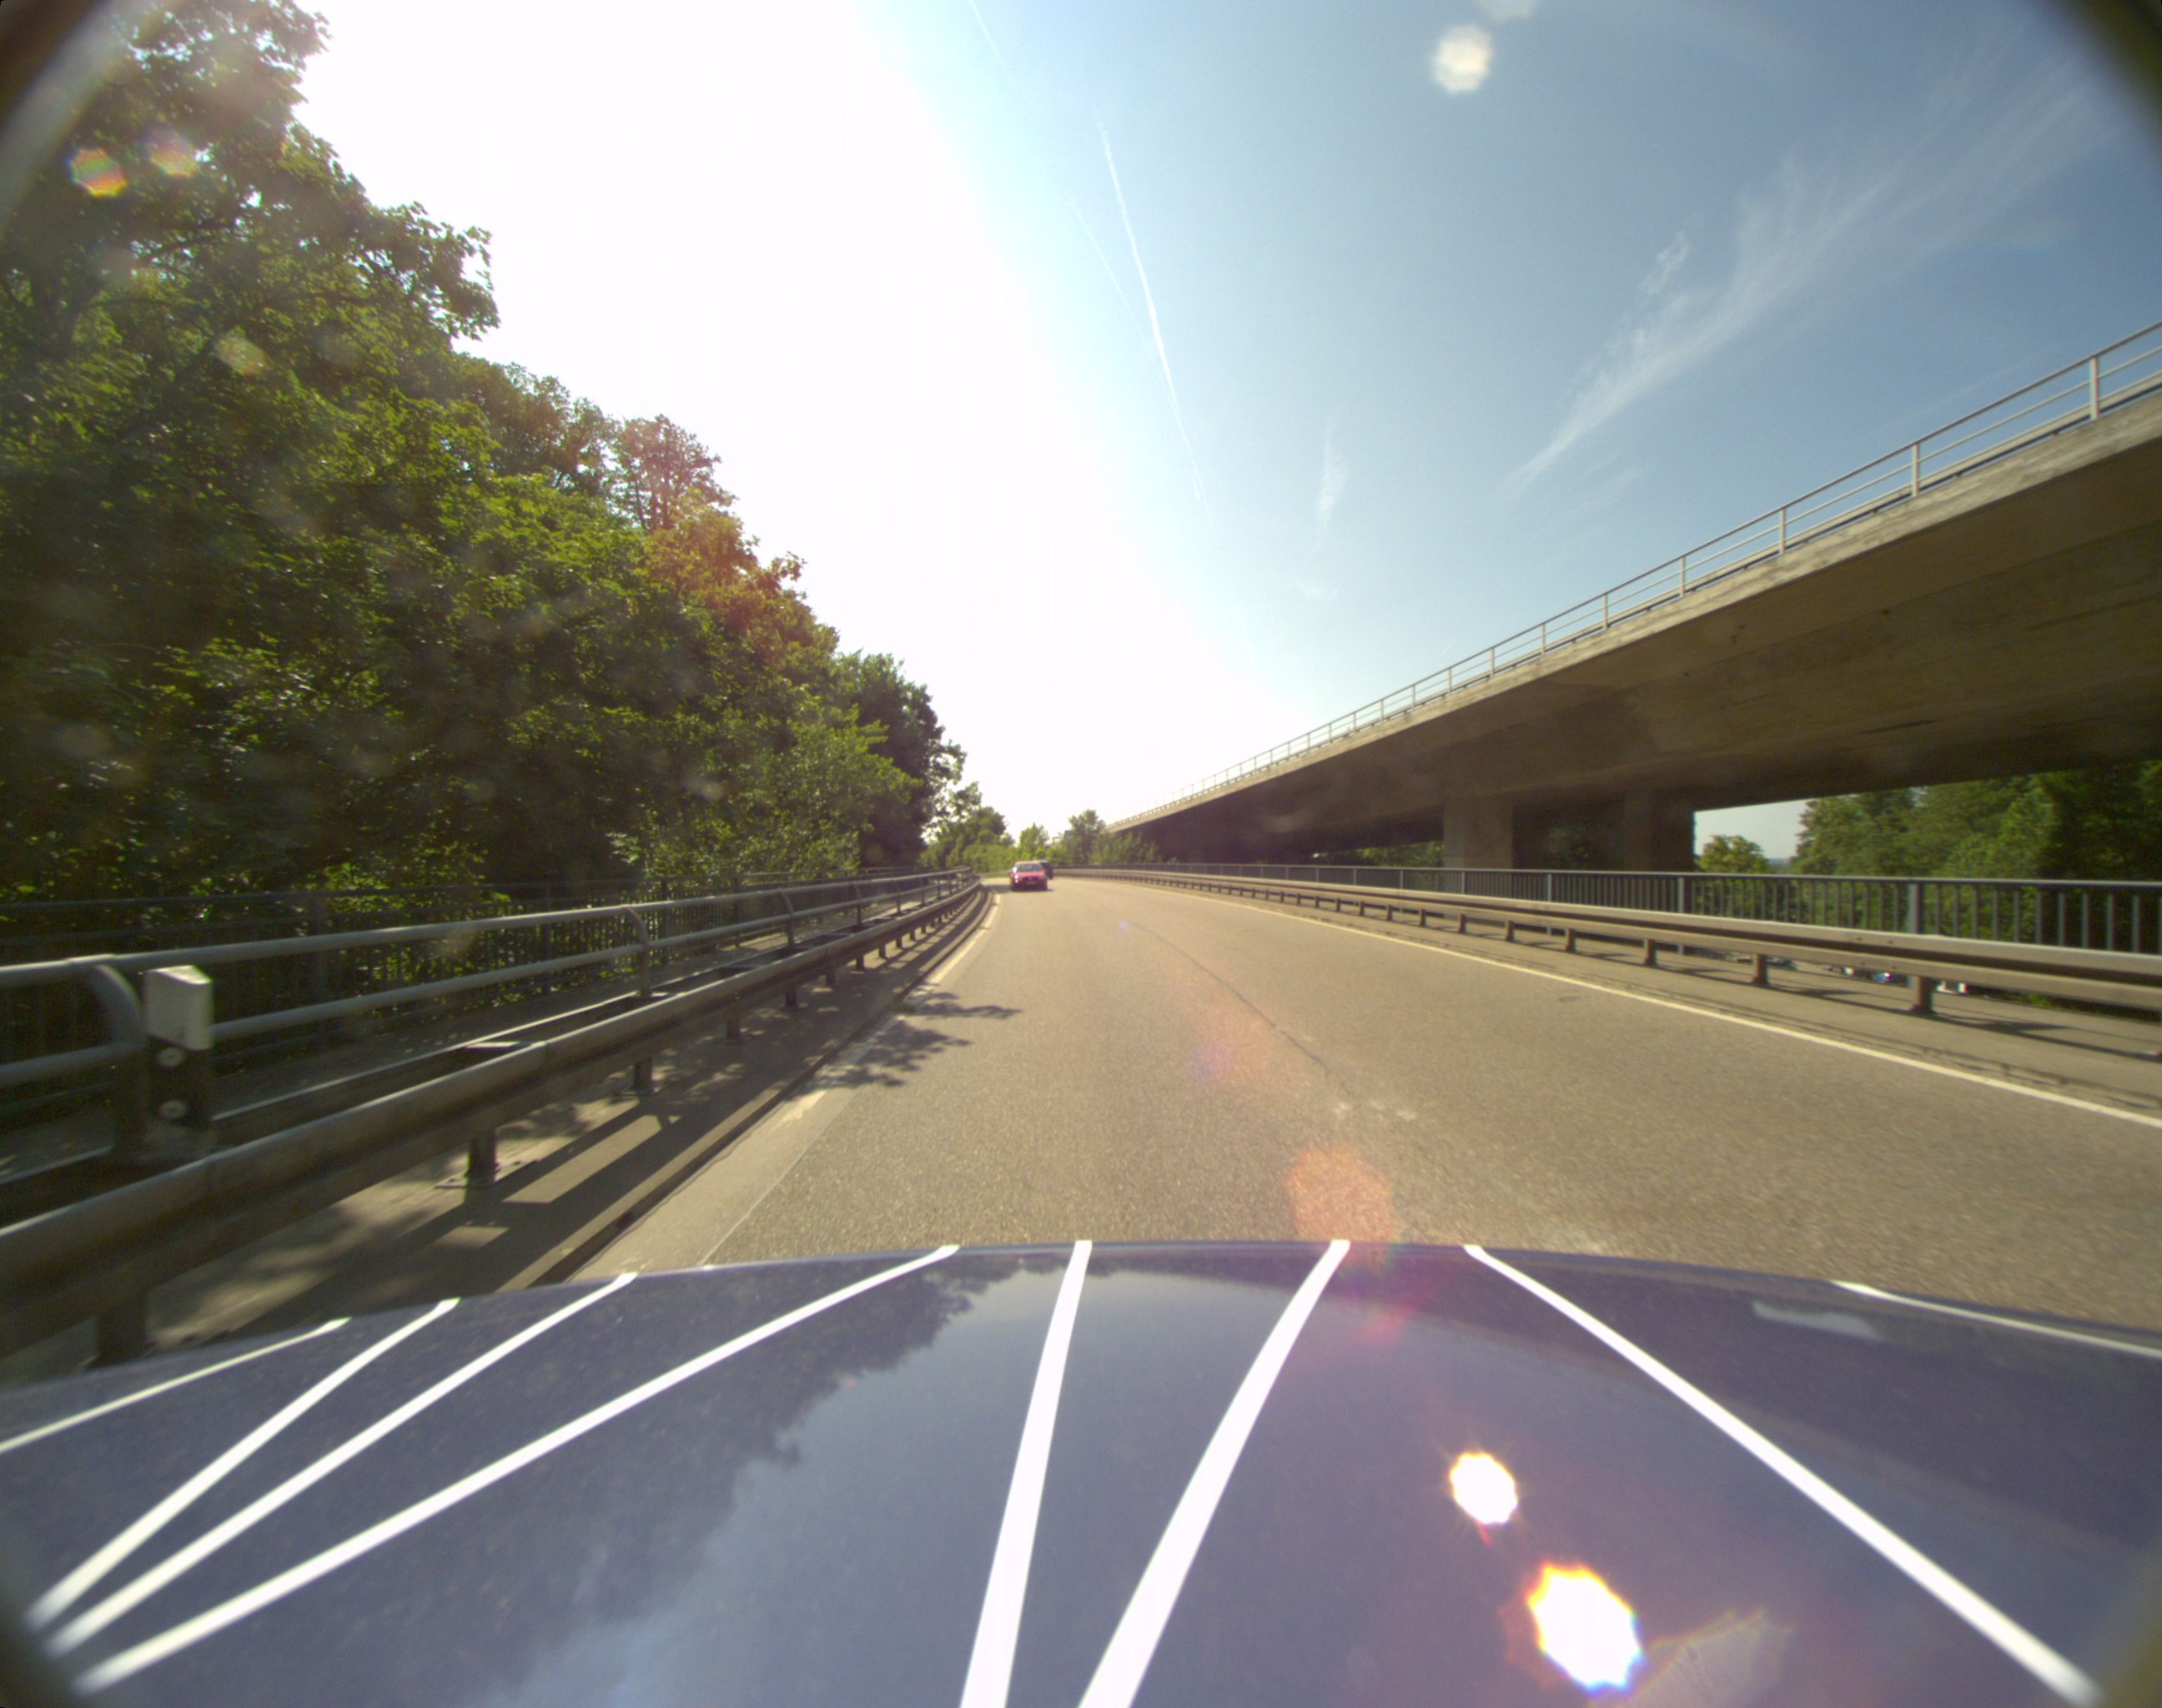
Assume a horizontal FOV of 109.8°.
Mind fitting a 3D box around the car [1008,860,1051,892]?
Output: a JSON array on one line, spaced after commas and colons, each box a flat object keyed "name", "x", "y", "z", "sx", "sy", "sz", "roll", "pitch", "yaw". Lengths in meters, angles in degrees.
[{"name": "car", "x": -2.728, "y": 1.095, "z": 39.419, "sx": 1.818, "sy": 1.487, "sz": 4.283, "roll": -2, "pitch": -1, "yaw": -9}]

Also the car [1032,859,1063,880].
[{"name": "car", "x": -2.851, "y": 1.246, "z": 63.365, "sx": 1.905, "sy": 1.571, "sz": 4.550, "roll": -2, "pitch": 0, "yaw": -11}]
